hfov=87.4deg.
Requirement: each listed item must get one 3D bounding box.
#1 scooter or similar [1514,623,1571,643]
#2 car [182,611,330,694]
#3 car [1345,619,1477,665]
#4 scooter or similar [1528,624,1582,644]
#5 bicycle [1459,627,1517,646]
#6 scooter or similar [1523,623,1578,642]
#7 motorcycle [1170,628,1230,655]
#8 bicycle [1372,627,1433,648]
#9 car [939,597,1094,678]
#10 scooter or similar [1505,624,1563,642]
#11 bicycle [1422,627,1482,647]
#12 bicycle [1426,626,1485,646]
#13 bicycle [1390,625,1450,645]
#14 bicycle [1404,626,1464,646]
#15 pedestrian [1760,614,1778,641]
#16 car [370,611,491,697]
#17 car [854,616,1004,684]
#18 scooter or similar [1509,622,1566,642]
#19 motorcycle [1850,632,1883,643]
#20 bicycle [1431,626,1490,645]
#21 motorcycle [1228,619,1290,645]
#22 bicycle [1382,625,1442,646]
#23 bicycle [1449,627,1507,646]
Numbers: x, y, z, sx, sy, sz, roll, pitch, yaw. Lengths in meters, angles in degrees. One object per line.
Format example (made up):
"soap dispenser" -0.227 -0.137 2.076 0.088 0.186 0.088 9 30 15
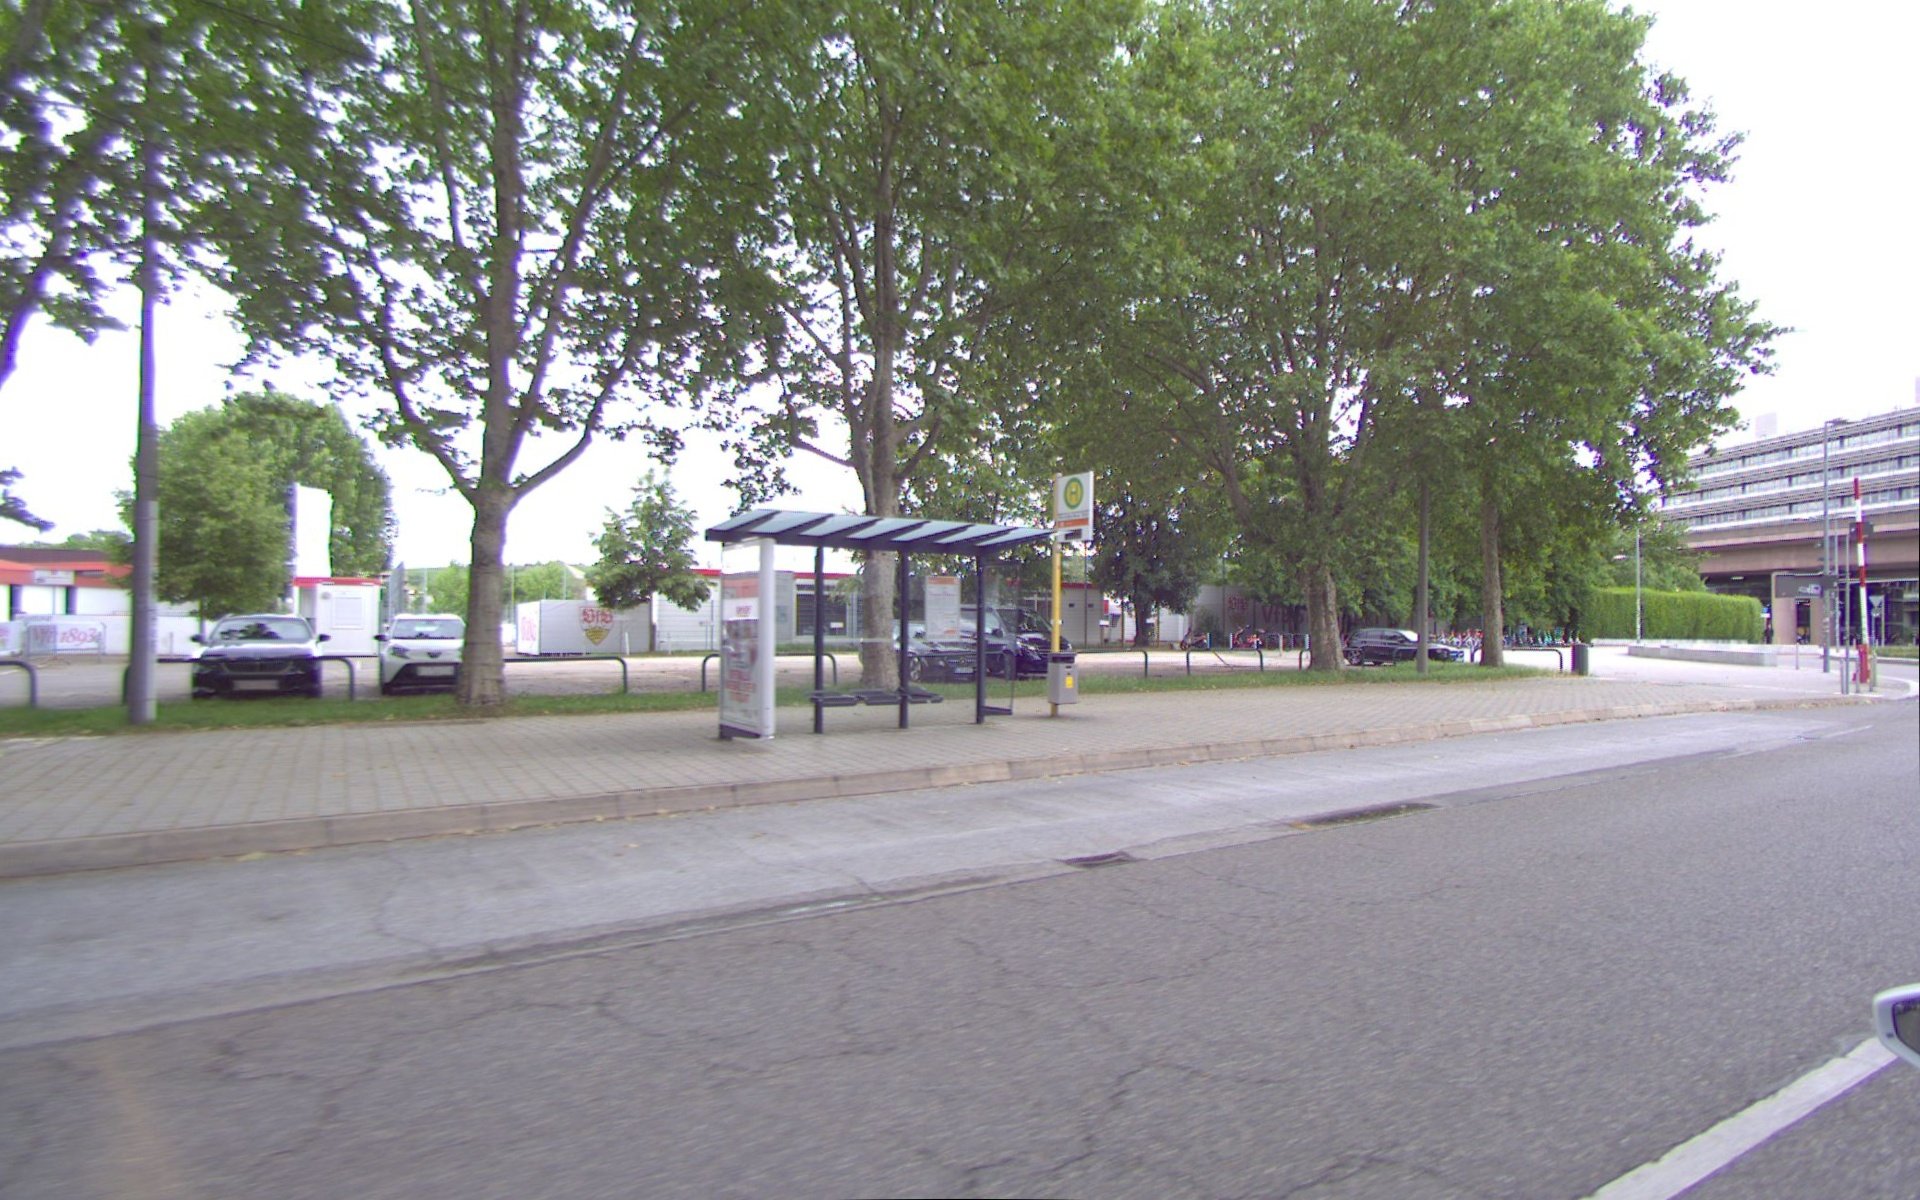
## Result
"scooter or similar" 38.611 2.153 66.619 3.147 1.266 0.769 0 -1 44
"car" -12.904 0.901 18.641 1.979 1.341 3.966 1 -1 -32
"car" 16.754 1.540 37.455 2.214 1.626 3.954 2 -2 -40
"scooter or similar" 40.981 2.332 69.193 3.147 1.266 0.769 0 -1 44
"bicycle" 33.174 2.282 63.196 3.147 1.112 0.769 0 -1 44
"scooter or similar" 40.276 2.218 68.577 3.147 1.266 0.769 0 -1 44
"motorcycle" 11.660 1.998 48.908 0.762 1.238 3.650 1 -1 -24
"bicycle" 25.467 2.132 57.905 3.148 1.112 0.768 0 -1 44
"car" 1.475 0.999 28.026 2.235 2.052 4.597 1 -1 -29
"scooter or similar" 37.197 2.129 65.122 3.147 1.112 0.769 0 -1 44
"bicycle" 29.415 2.220 60.126 3.148 1.111 0.769 -2 -3 44
"bicycle" 30.121 2.194 61.064 3.147 1.112 0.769 0 -1 44
"bicycle" 27.220 2.075 59.444 3.147 1.112 0.769 0 -1 44
"bicycle" 28.257 2.153 59.927 3.147 1.112 0.769 -1 -2 44
"pedestrian" 62.360 2.110 77.424 0.595 2.040 1.033 1 -1 -42
"car" -10.878 1.026 20.517 1.979 1.543 3.967 1 -1 -31
"car" -0.928 1.251 26.327 2.083 1.588 4.606 2 -2 -29
"scooter or similar" 37.823 2.092 65.827 3.147 1.266 0.769 0 -1 44
"motorcycle" 98.386 4.040 109.039 1.020 1.127 2.657 1 -1 -10
"bicycle" 30.825 2.195 61.887 3.147 1.112 0.769 0 -1 44
"motorcycle" 15.117 1.610 50.945 0.762 1.238 3.650 1 -1 -24
"bicycle" 26.447 2.053 58.857 3.148 1.112 0.768 0 -1 44
"bicycle" 32.196 2.258 62.496 3.147 1.112 0.769 0 -1 44
